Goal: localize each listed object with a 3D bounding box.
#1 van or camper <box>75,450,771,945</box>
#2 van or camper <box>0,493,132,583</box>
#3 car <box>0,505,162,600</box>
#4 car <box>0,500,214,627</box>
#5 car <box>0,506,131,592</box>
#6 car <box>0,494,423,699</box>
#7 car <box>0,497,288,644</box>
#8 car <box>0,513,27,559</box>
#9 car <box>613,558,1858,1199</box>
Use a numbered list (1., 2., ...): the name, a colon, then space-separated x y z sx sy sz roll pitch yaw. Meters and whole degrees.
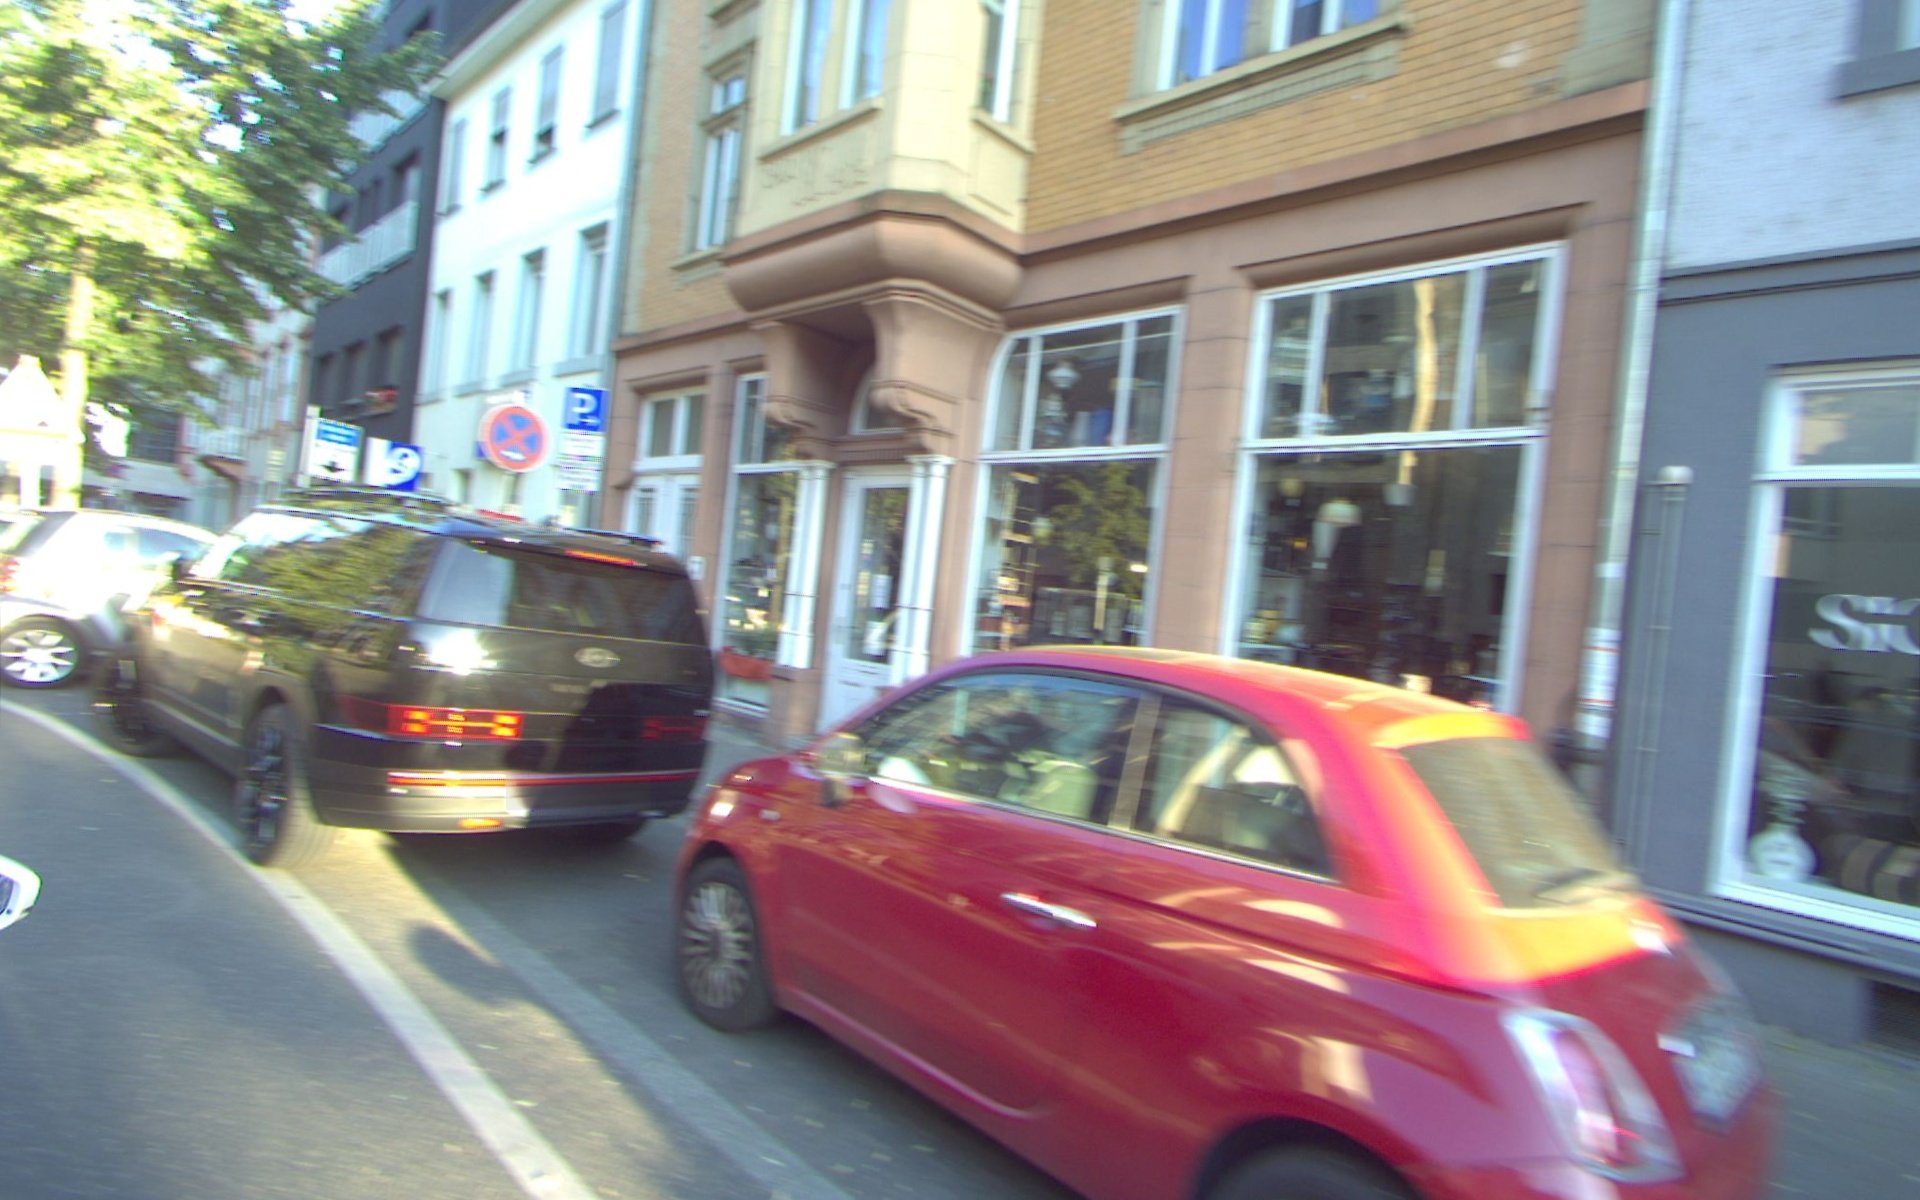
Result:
1. van or camper: -3.342 0.279 5.833 4.396 1.829 1.888 6 -1 39
2. van or camper: -25.741 -1.816 27.510 1.833 2.028 4.435 6 -2 42
3. car: -20.340 -1.126 22.402 1.833 1.689 3.681 6 -2 42
4. car: -14.857 -0.647 16.615 1.833 1.689 3.681 6 -2 42
5. car: -22.296 -1.315 23.909 1.833 1.689 3.681 6 -2 42
6. car: -7.362 0.028 9.687 1.487 1.594 3.464 6 -1 42
7. car: -12.720 -0.445 15.045 1.833 1.689 3.991 6 -3 42
8. car: -35.282 -2.448 35.378 1.828 1.586 3.691 8 -2 -12
9. car: 0.450 0.825 3.194 1.522 1.588 3.379 8 -2 -44
